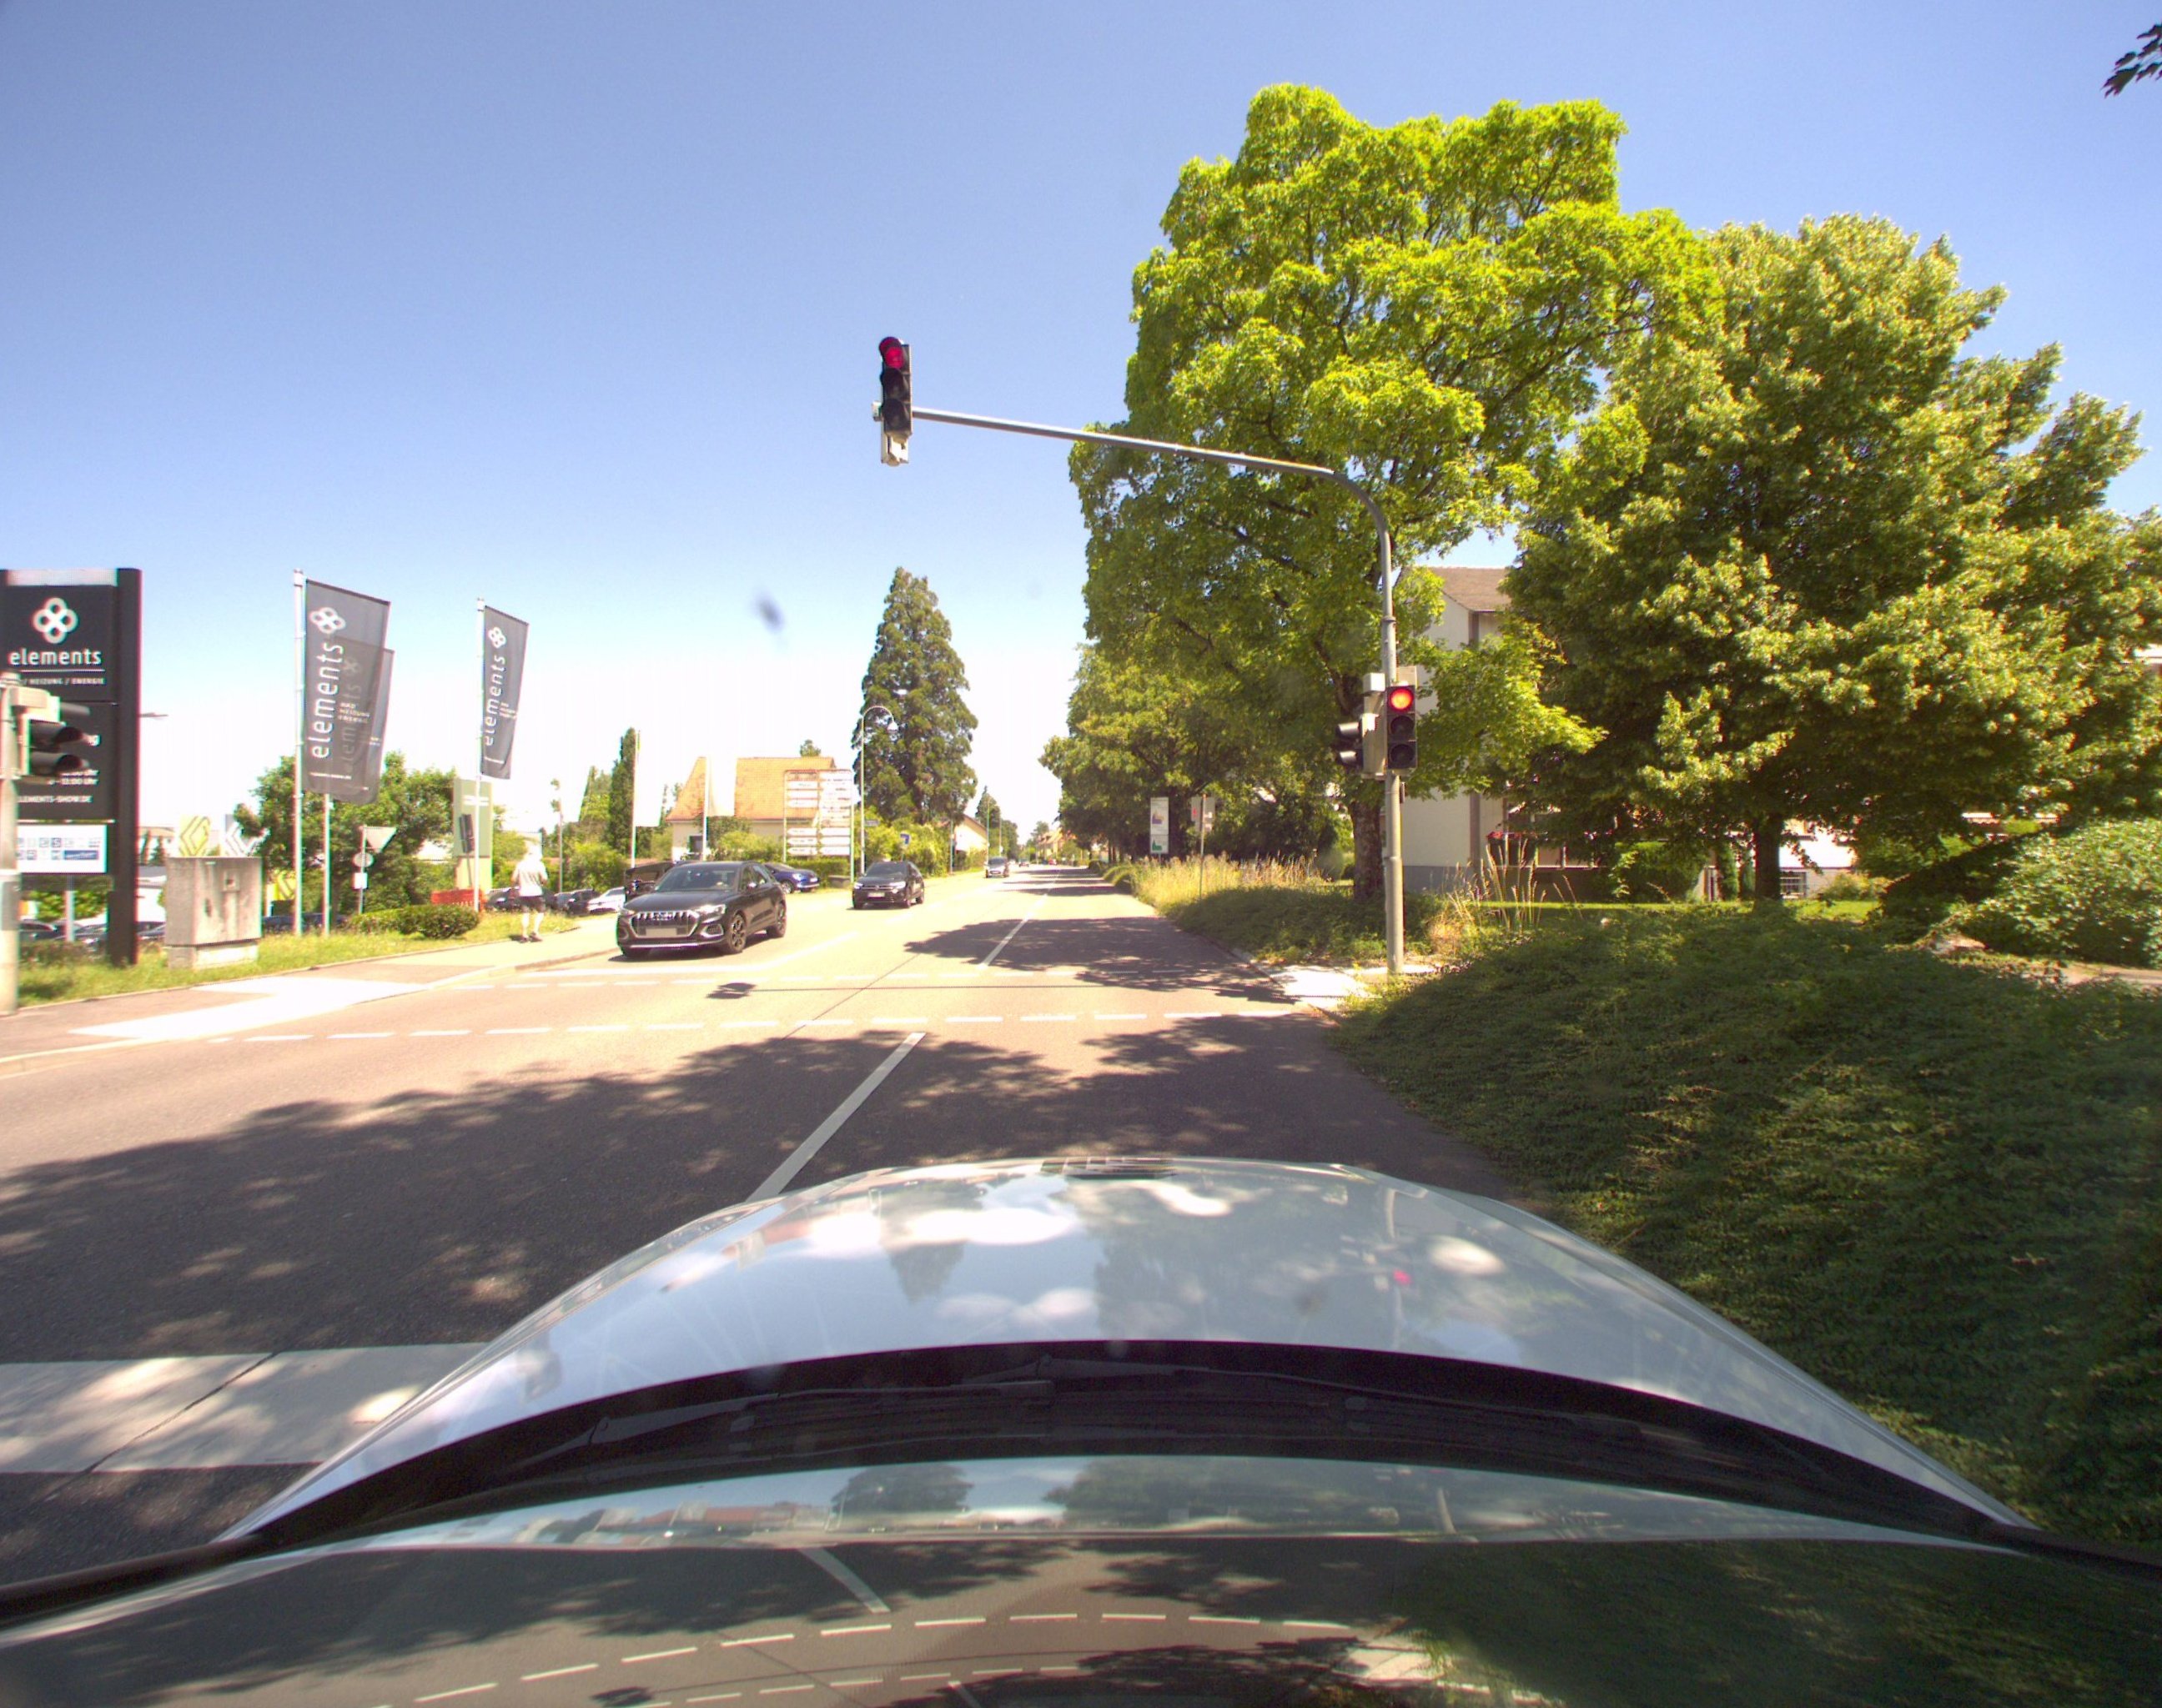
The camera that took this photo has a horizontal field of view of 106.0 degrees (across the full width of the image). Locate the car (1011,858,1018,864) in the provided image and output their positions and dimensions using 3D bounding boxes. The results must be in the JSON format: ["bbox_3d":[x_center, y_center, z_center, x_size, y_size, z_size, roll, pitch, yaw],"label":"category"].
[{"bbox_3d":[-20.666,2.192,253.340,1.675,1.684,4.000,-1,0,1],"label":"car"}]

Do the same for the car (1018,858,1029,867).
[{"bbox_3d":[-10.531,1.530,149.328,1.788,1.536,4.313,-1,0,-1],"label":"car"}]

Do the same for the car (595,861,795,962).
[{"bbox_3d":[-6.876,0.925,15.088,1.923,1.555,4.295,-1,0,-5],"label":"car"}]

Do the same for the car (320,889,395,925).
[{"bbox_3d":[-40.013,2.867,45.136,1.816,1.722,4.059,0,0,-22],"label":"car"}]

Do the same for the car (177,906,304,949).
[{"bbox_3d":[-34.455,2.973,33.526,1.648,1.415,3.855,-1,0,-10],"label":"car"}]

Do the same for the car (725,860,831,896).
[{"bbox_3d":[-13.588,1.064,36.634,4.109,1.504,1.782,-1,0,10],"label":"car"}]

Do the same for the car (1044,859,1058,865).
[{"bbox_3d":[-6.866,1.878,185.917,1.948,1.359,4.438,-1,0,-16],"label":"car"}]

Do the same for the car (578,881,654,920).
[{"bbox_3d":[-23.394,2.289,41.160,1.806,1.722,4.081,0,0,-6],"label":"car"}]

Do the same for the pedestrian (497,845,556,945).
[{"bbox_3d":[-10.061,0.720,14.787,0.538,1.761,0.706,-1,-1,28],"label":"pedestrian"}]

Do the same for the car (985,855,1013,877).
[{"bbox_3d":[-6.981,1.008,69.319,1.804,1.762,4.571,0,0,1],"label":"car"}]

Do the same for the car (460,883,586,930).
[{"bbox_3d":[-23.160,2.135,33.990,1.795,1.722,4.106,-1,0,16],"label":"car"}]

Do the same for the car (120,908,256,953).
[{"bbox_3d":[-36.869,3.122,33.787,1.754,1.486,3.983,-1,0,-12],"label":"car"}]

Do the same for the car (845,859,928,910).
[{"bbox_3d":[-6.298,0.935,26.852,1.864,1.507,4.049,-1,0,-2],"label":"car"}]
